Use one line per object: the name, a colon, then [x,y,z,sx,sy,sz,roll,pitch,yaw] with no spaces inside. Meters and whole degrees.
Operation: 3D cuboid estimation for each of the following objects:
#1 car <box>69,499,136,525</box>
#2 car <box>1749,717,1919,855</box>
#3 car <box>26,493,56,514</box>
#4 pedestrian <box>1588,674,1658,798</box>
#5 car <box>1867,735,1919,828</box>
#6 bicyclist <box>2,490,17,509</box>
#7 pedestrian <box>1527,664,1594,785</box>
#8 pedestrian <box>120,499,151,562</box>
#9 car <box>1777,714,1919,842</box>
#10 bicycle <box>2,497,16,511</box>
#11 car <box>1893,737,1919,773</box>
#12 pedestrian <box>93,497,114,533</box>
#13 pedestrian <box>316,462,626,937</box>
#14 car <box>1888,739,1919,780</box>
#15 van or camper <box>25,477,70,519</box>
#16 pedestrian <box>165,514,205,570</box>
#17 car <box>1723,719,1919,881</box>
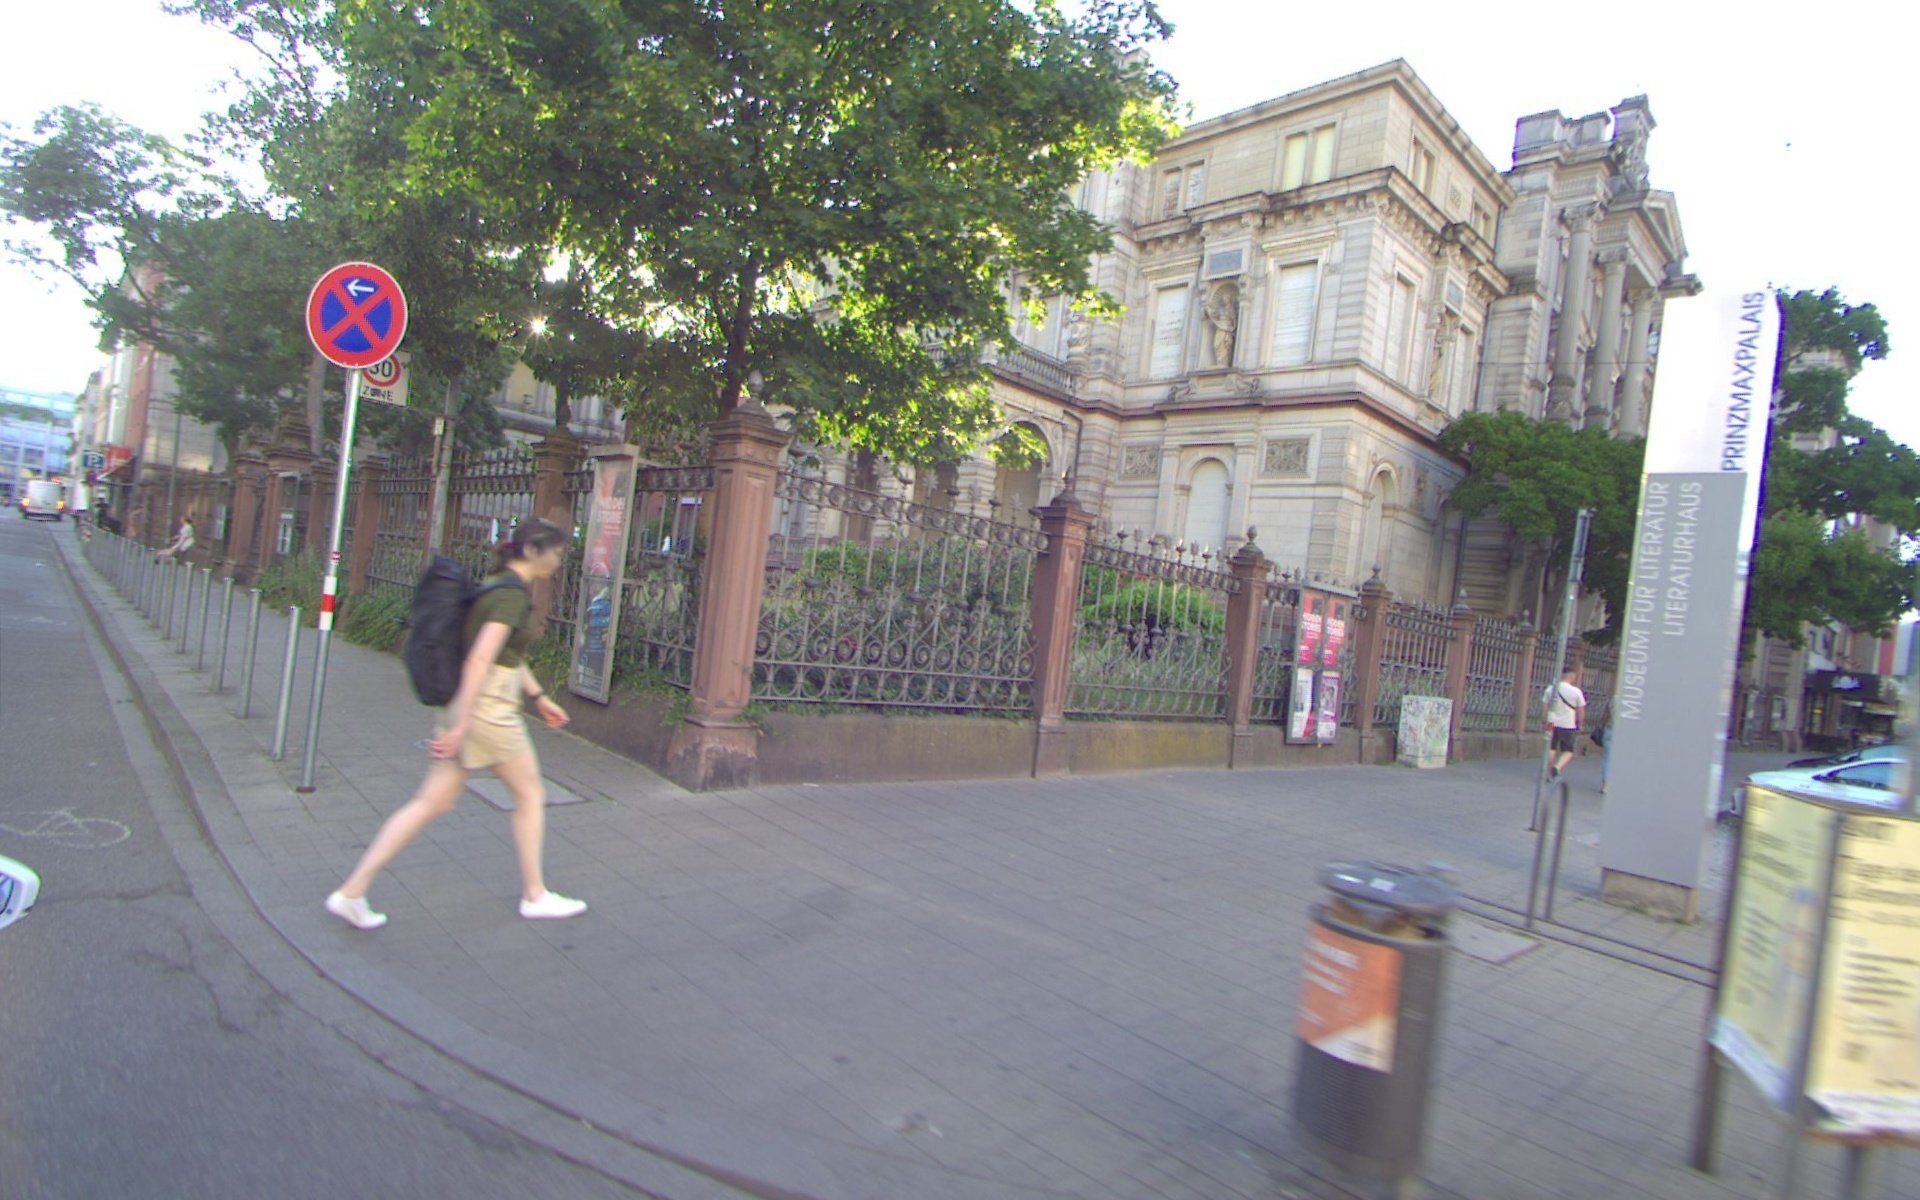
car: [-69.313,-7.063,81.347,3.975,1.437,1.636,8,-2,-43]
car: [14.272,2.895,14.655,1.728,1.545,3.984,7,2,-15]
car: [-89.123,-9.323,97.531,1.987,1.704,3.952,8,-1,-43]
pedestrian: [9.845,2.002,14.963,0.632,1.691,0.704,9,1,33]
car: [18.852,3.535,17.887,1.723,1.627,4.002,7,-1,1]
bicyclist: [-104.826,-11.095,110.955,0.987,1.891,0.699,7,0,-43]
pedestrian: [9.051,1.856,15.164,0.632,1.691,0.704,9,1,33]
pedestrian: [-23.276,-1.961,28.391,0.610,1.680,0.483,7,2,40]
car: [16.192,3.089,16.576,1.725,1.742,3.994,7,0,-7]
bicycle: [-105.011,-10.606,111.096,0.972,1.295,2.721,7,-1,-43]
car: [43.028,6.936,43.330,1.744,1.429,3.953,8,-1,-42]
pedestrian: [-41.282,-4.093,48.472,0.659,1.688,0.616,4,3,-43]
pedestrian: [-1.972,0.398,4.177,0.831,1.744,0.636,7,0,-9]
car: [37.868,6.280,37.983,1.744,1.429,3.953,8,-1,-42]
van or camper: [-64.580,-7.180,71.184,2.247,2.643,5.051,1,3,-43]
pedestrian: [-22.248,-1.662,28.878,0.610,1.519,0.747,7,2,41]
car: [12.226,2.680,12.560,1.728,1.466,3.893,7,4,-15]
